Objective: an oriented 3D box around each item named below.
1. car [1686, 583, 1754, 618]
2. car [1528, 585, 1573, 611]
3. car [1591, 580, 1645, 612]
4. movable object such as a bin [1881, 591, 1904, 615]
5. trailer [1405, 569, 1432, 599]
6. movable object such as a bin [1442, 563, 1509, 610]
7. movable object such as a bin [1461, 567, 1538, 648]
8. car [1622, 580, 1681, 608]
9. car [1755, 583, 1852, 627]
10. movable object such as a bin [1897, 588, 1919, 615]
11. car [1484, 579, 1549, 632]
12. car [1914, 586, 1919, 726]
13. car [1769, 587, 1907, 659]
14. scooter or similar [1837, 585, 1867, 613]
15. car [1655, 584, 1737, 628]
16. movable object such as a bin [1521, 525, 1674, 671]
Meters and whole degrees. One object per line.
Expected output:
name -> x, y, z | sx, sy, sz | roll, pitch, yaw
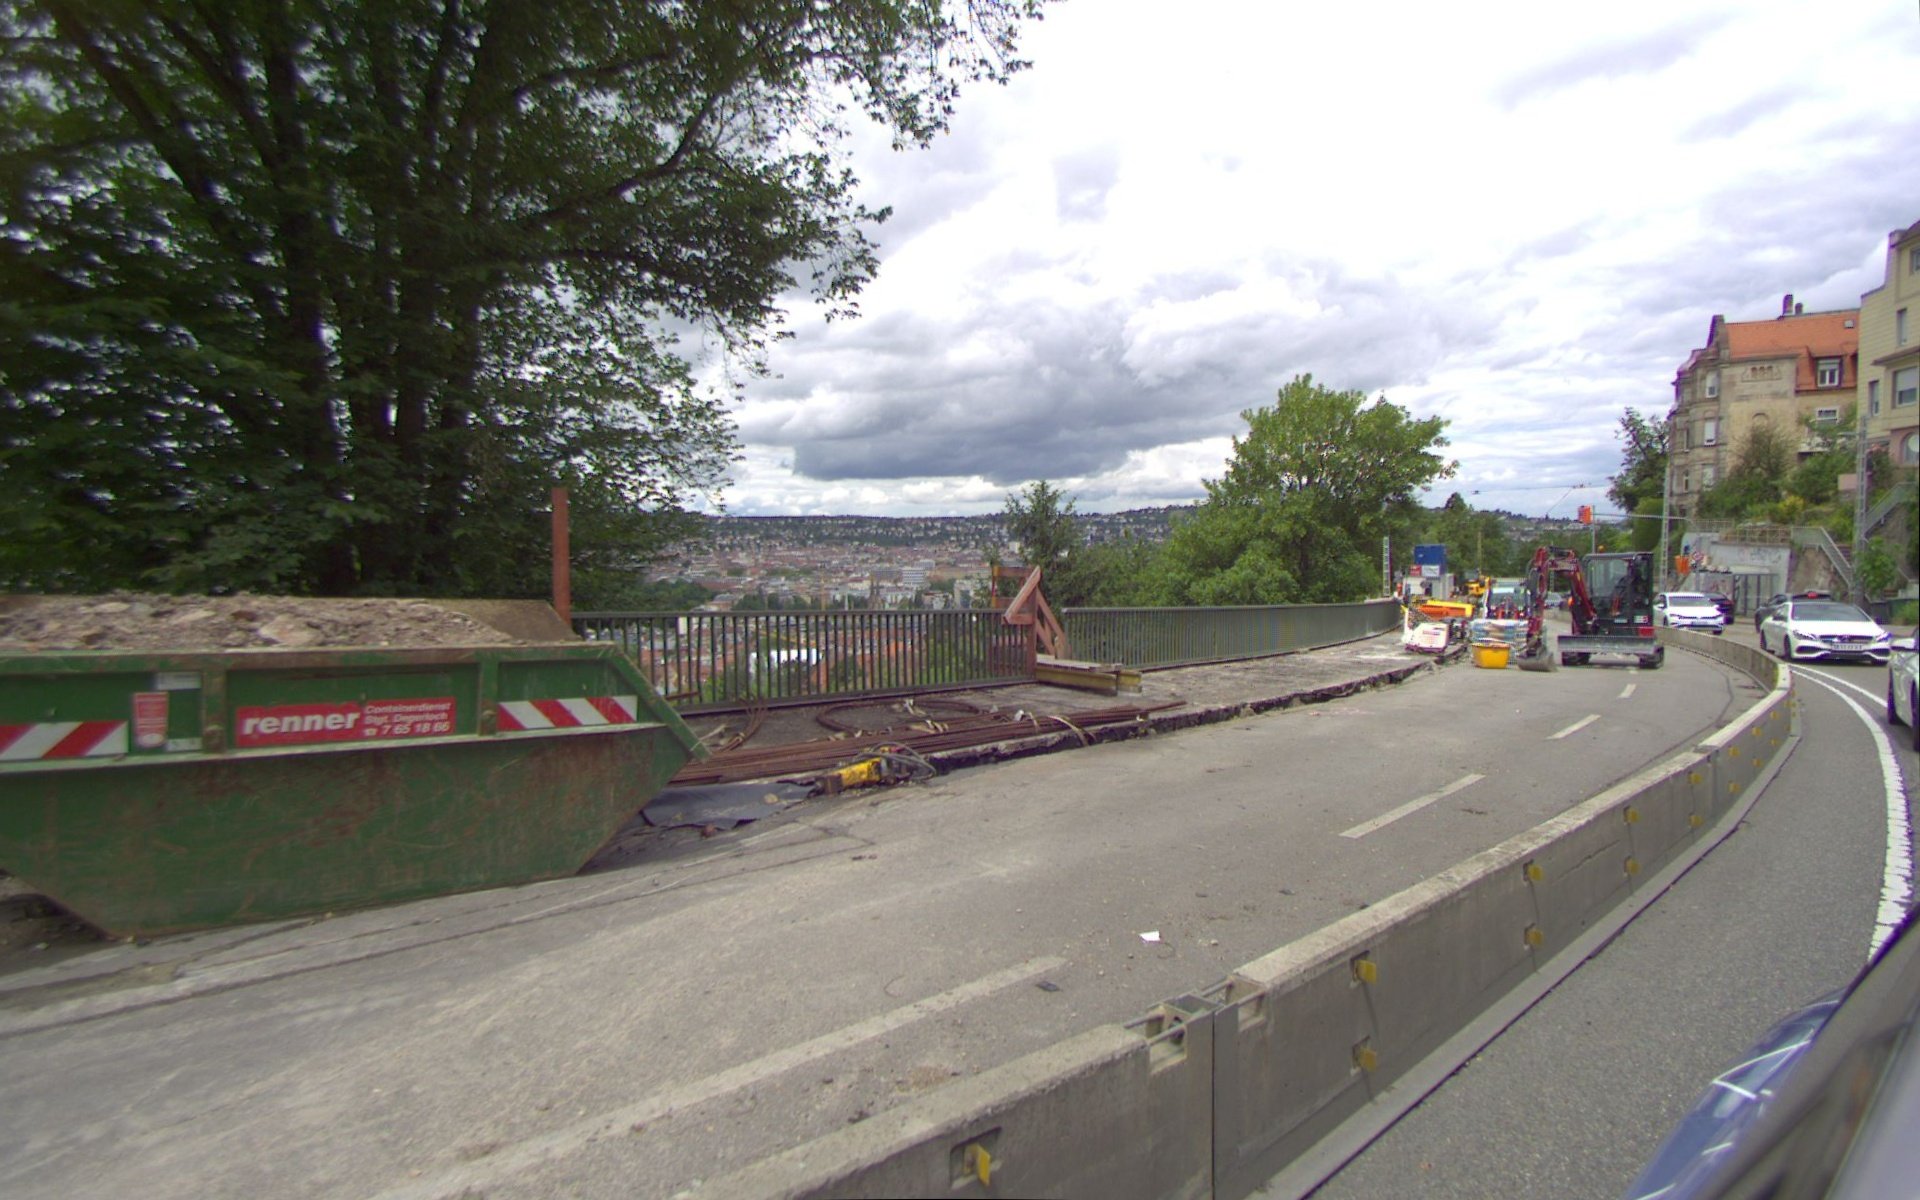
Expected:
car -> 35.816, 0.018, 47.798 | 1.755, 1.587, 4.192 | 0, 0, 26
car -> 39.089, -0.154, 67.122 | 1.778, 1.528, 3.975 | 3, 3, 19
car -> 35.850, -0.259, 55.260 | 1.781, 1.528, 3.968 | 3, 3, 24
movable object such as a bin -> 36.977, 0.117, 40.128 | 0.464, 0.946, 0.620 | -2, 0, 21
trailer -> 41.277, -1.472, 91.109 | 2.092, 2.581, 5.075 | 3, 2, 25
movable object such as a bin -> 35.546, -0.926, 70.055 | 2.782, 3.109, 7.780 | 0, 1, 17
movable object such as a bin -> 14.406, 0.162, 26.974 | 1.692, 1.967, 4.122 | 0, 0, 29
car -> 40.770, -0.354, 59.747 | 1.750, 1.587, 4.204 | 0, 0, 18
car -> 31.132, 0.146, 37.476 | 1.754, 1.537, 3.991 | 0, 0, 25
movable object such as a bin -> 37.437, 0.048, 39.933 | 0.464, 1.067, 0.620 | -2, 0, 21
car -> 20.104, 0.151, 36.668 | 1.820, 1.802, 4.230 | 0, 1, 26
car -> 11.042, 0.617, 10.333 | 1.787, 1.499, 4.180 | 1, 1, 42
car -> 20.551, 0.470, 23.878 | 1.780, 1.499, 4.197 | 1, 1, 32
scooter or similar -> 39.774, -0.059, 45.127 | 0.455, 1.220, 1.426 | -2, 0, 19
car -> 28.330, 0.211, 39.105 | 1.775, 1.570, 4.207 | 1, 1, 25
movable object such as a bin -> 13.535, -0.072, 21.333 | 2.208, 2.696, 4.876 | 0, 0, 39
